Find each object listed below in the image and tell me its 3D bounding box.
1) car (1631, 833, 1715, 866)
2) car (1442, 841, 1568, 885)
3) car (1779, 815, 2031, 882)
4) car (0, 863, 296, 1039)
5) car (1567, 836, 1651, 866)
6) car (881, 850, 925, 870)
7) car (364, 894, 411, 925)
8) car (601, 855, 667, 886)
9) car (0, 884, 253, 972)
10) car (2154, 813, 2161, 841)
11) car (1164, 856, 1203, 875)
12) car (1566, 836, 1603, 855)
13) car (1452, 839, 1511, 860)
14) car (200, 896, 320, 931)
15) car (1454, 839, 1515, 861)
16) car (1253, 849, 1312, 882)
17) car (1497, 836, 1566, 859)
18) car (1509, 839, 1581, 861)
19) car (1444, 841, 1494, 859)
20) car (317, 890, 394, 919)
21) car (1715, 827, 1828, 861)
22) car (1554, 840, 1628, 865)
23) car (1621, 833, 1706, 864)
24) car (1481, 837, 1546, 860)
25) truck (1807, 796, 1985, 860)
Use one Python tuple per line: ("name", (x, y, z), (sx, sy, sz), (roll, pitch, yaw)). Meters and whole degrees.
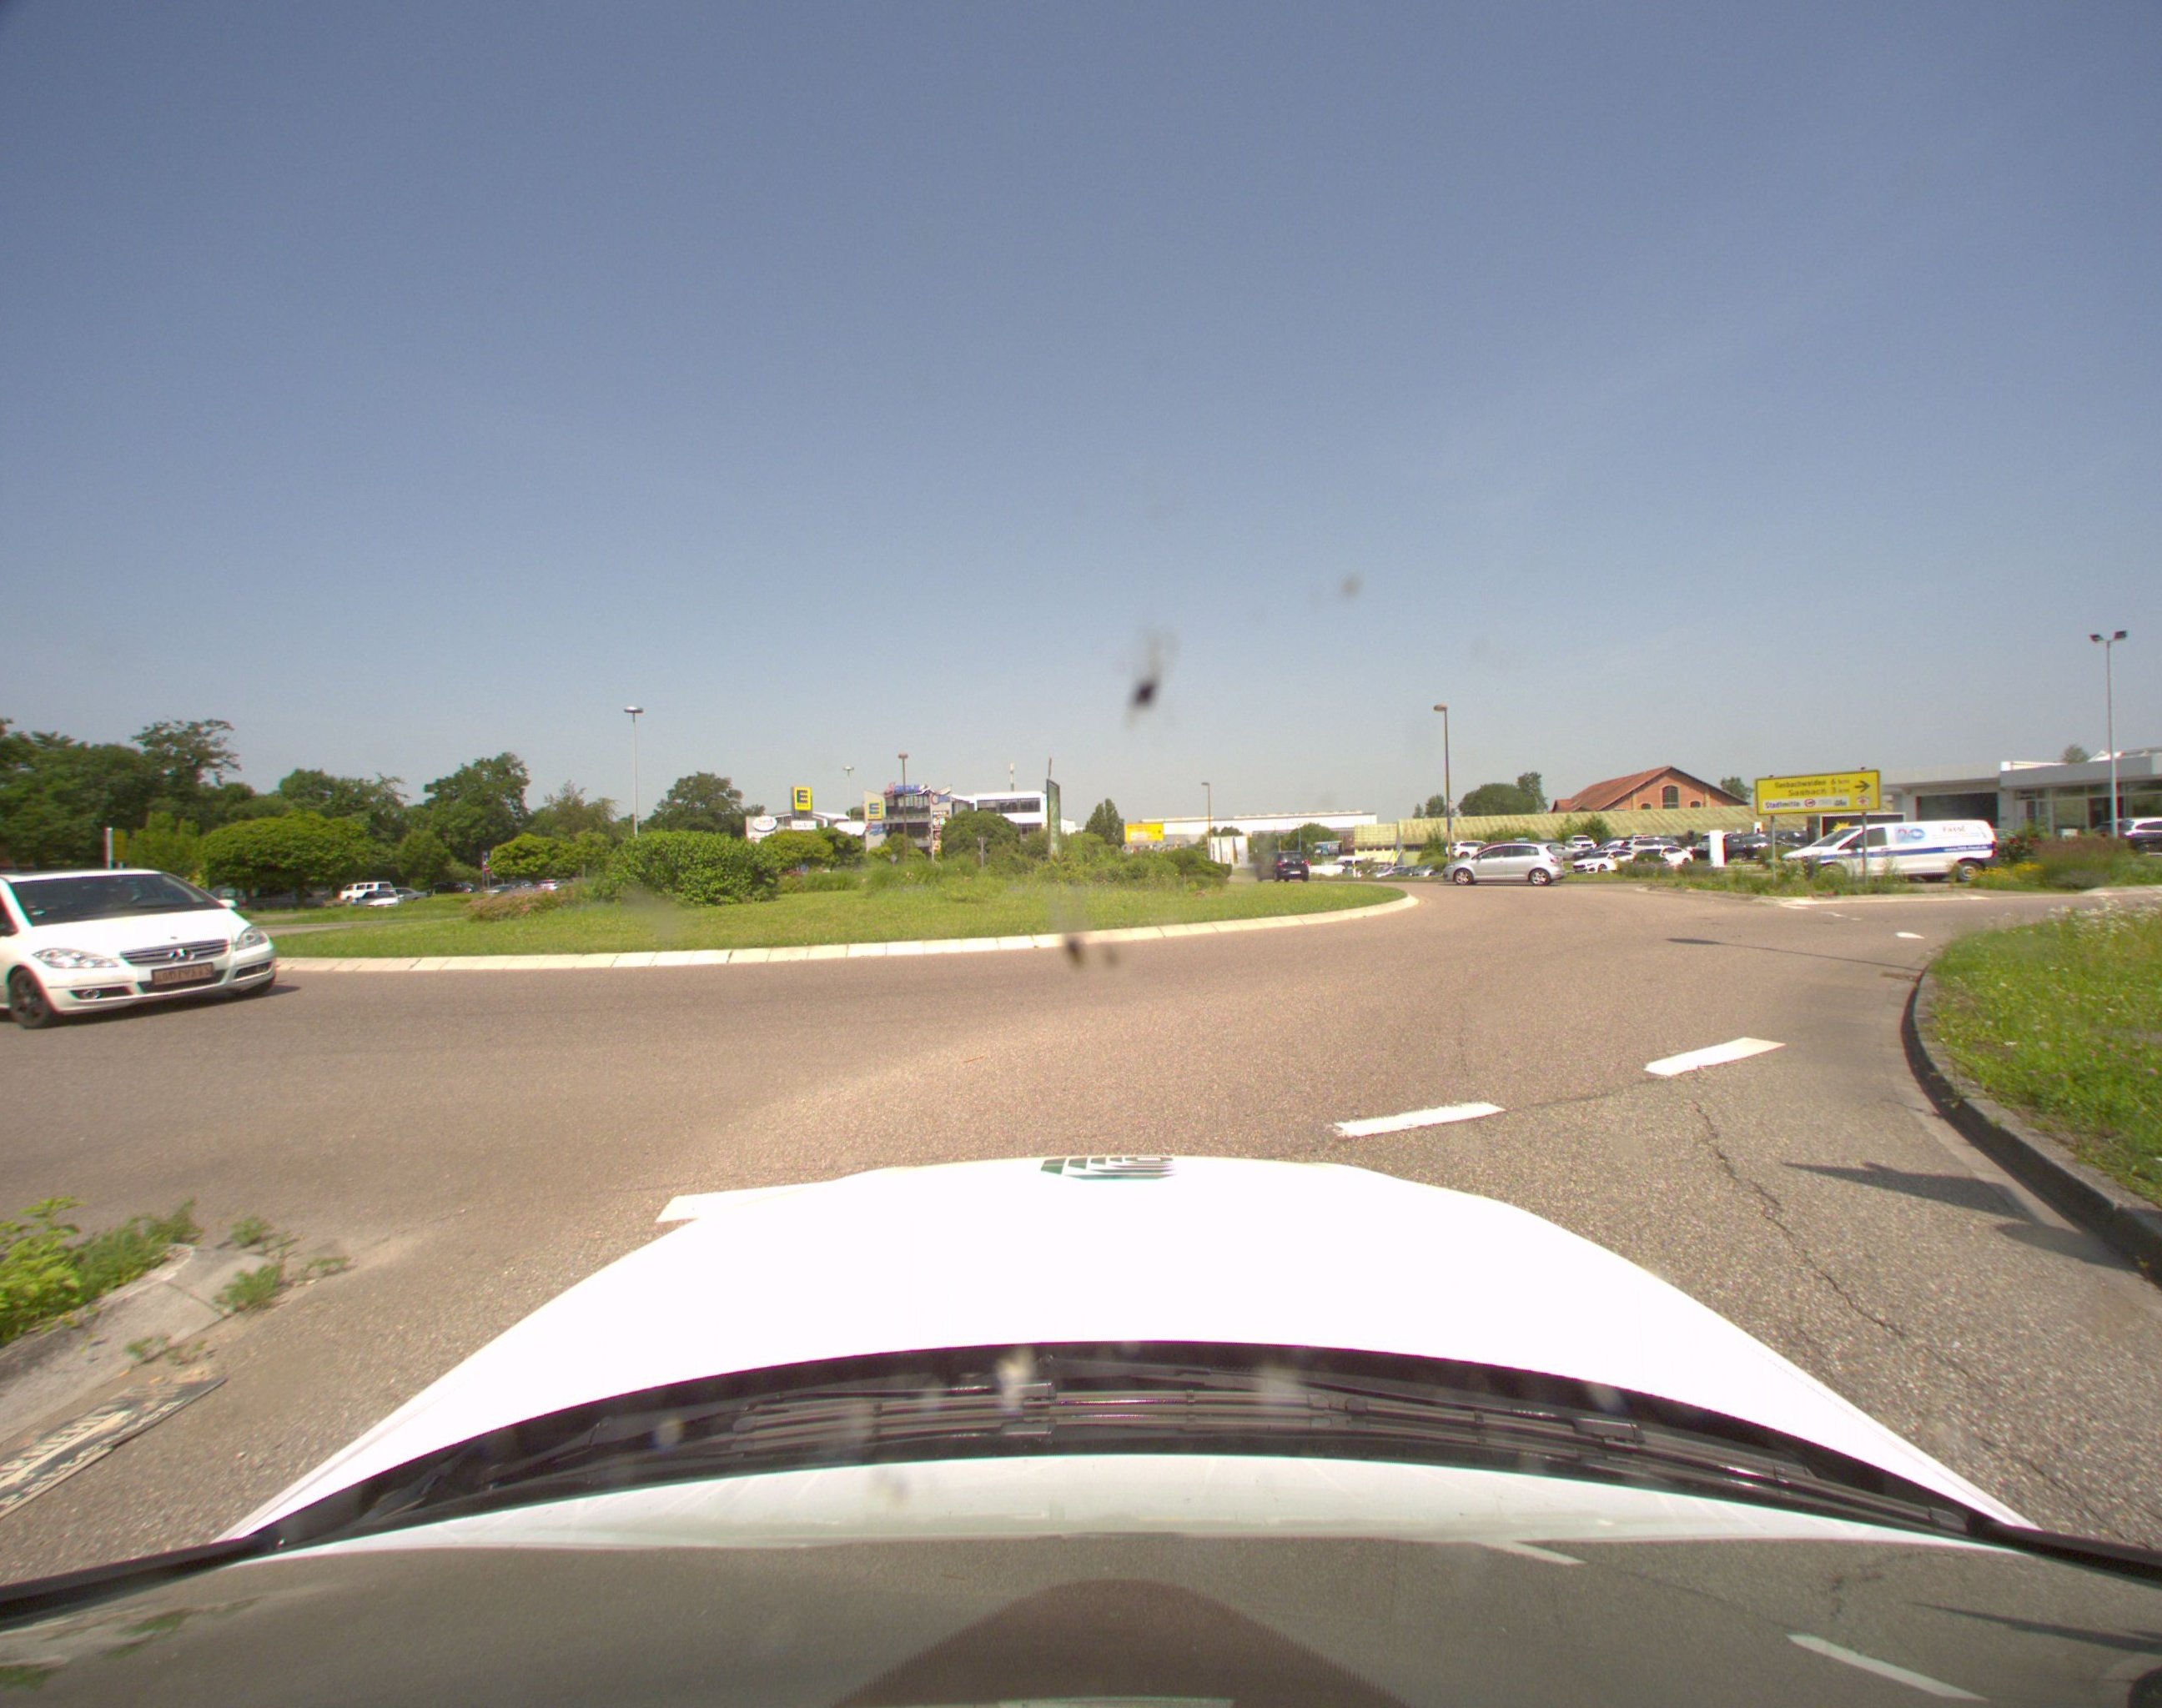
("car", (34.683, -0.288, 47.723), (4.671, 1.570, 1.755), (-4, 0, -23))
("car", (15.883, 0.361, 30.538), (4.033, 1.530, 1.796), (-1, -1, 32))
("car", (25.422, -0.118, 25.408), (5.167, 1.938, 1.871), (-1, -1, 22))
("car", (-11.220, 0.941, 9.208), (3.848, 1.603, 1.796), (0, 1, 20))
("car", (32.236, -0.154, 49.734), (4.574, 1.570, 1.758), (-2, -2, -17))
("car", (-15.237, 0.537, 69.811), (3.286, 1.574, 1.563), (-2, -2, 17))
("car", (-37.947, 2.990, 44.508), (1.595, 1.497, 4.509), (1, -2, -45))
("car", (-29.754, 1.106, 54.335), (1.677, 2.014, 4.010), (-1, -1, 9))
("car", (-22.450, 1.638, 18.856), (1.741, 1.530, 4.227), (-4, 1, 11))
("car", (63.013, -1.609, 45.045), (3.992, 1.586, 1.920), (-2, 0, 22))
("car", (7.507, 0.854, 59.862), (1.779, 1.407, 4.073), (0, -1, -9))
("car", (46.192, -0.738, 74.794), (1.901, 1.596, 4.325), (-2, -1, 19))
("car", (35.667, -0.388, 72.567), (4.418, 1.747, 1.847), (-2, -1, 17))
("car", (-42.948, 3.081, 42.759), (1.865, 1.561, 4.404), (0, -1, -1))
("car", (34.934, -0.345, 70.611), (4.418, 1.747, 1.847), (-2, -1, 17))
("car", (9.933, 0.592, 40.503), (1.775, 1.530, 3.995), (0, -1, -3))
("car", (35.681, -0.507, 64.585), (4.418, 1.635, 1.958), (-2, -1, 17))
("car", (35.224, -0.320, 61.951), (4.418, 1.500, 1.958), (-2, 0, 17))
("car", (35.630, -0.348, 74.916), (3.845, 1.532, 1.776), (-2, -1, 17))
("car", (-41.493, 2.874, 46.644), (2.830, 1.498, 1.578), (0, -1, -14))
("car", (38.775, -0.538, 45.848), (4.377, 1.500, 1.958), (-5, -2, 17))
("car", (35.009, -0.082, 56.021), (3.960, 1.526, 1.960), (-2, 0, 23))
("car", (37.589, -0.338, 52.683), (3.964, 1.750, 1.958), (-4, -1, 17))
("car", (35.827, -0.441, 67.582), (4.418, 1.747, 1.958), (-2, -1, 17))
("truck", (38.289, -1.154, 38.483), (5.559, 2.665, 1.960), (-2, 0, 22))
